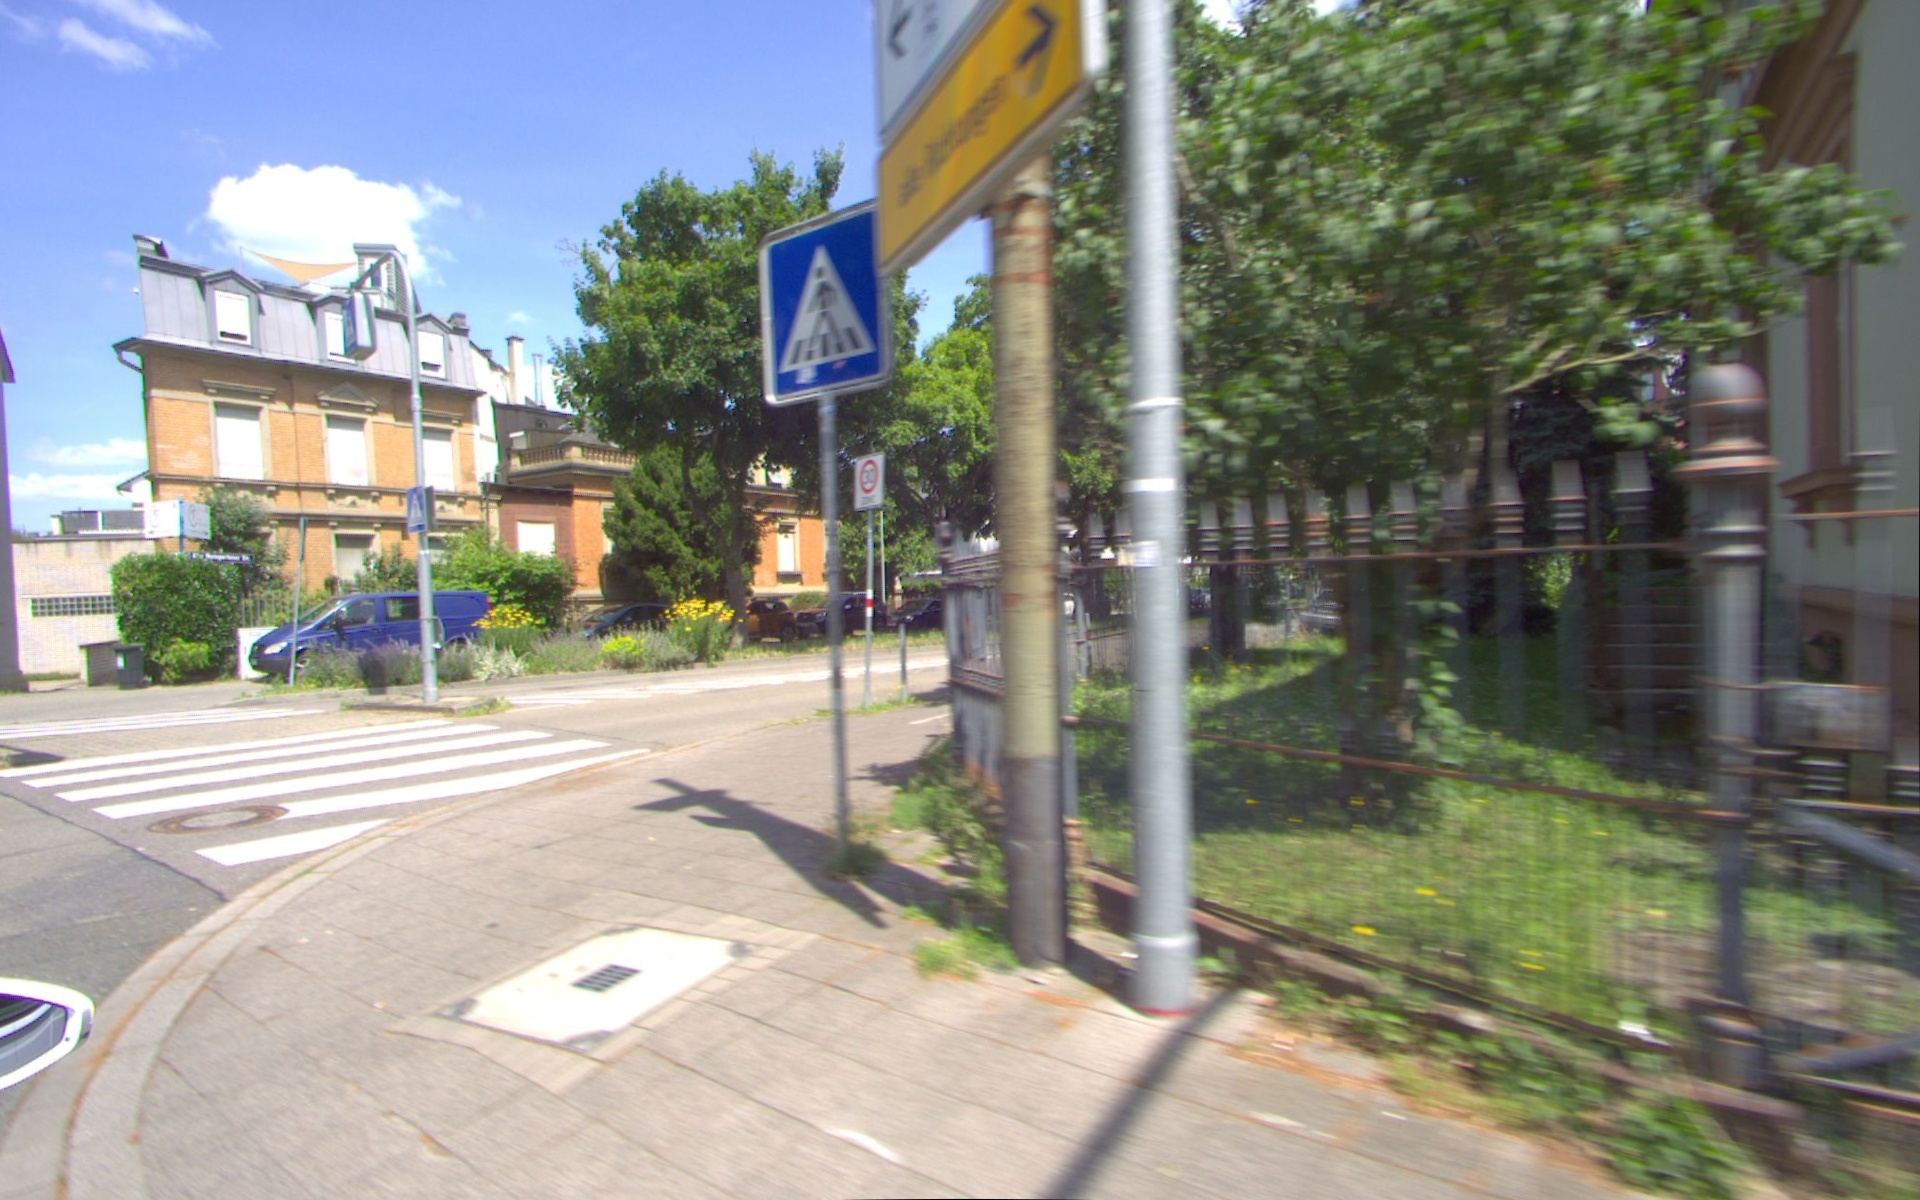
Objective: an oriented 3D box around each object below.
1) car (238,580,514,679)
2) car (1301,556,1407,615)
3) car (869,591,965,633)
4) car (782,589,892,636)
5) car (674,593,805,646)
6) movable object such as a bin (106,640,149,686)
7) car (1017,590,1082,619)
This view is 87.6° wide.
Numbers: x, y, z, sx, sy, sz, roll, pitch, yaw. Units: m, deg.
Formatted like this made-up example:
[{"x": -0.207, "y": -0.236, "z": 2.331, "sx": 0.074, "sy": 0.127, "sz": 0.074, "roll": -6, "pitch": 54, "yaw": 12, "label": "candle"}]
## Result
[{"x": -13.584, "y": 0.598, "z": 23.603, "sx": 2.059, "sy": 1.974, "sz": 5.198, "roll": 0, "pitch": 2, "yaw": 40, "label": "car"}, {"x": 11.289, "y": -0.411, "z": 28.586, "sx": 1.588, "sy": 1.573, "sz": 3.699, "roll": 3, "pitch": 2, "yaw": 41, "label": "car"}, {"x": -1.764, "y": 0.505, "z": 42.457, "sx": 1.835, "sy": 1.611, "sz": 4.435, "roll": -4, "pitch": -2, "yaw": 33, "label": "car"}, {"x": -4.573, "y": 0.481, "z": 37.905, "sx": 1.835, "sy": 1.611, "sz": 4.220, "roll": -4, "pitch": -2, "yaw": 33, "label": "car"}, {"x": -7.309, "y": 0.652, "z": 33.562, "sx": 1.835, "sy": 1.611, "sz": 4.220, "roll": -4, "pitch": -2, "yaw": 33, "label": "car"}, {"x": -17.188, "y": 1.294, "z": 20.678, "sx": 0.549, "sy": 0.927, "sz": 0.420, "roll": -3, "pitch": -1, "yaw": 7, "label": "movable object such as a bin"}, {"x": 4.794, "y": 0.248, "z": 53.217, "sx": 1.493, "sy": 1.411, "sz": 4.435, "roll": -4, "pitch": -2, "yaw": 33, "label": "car"}]
